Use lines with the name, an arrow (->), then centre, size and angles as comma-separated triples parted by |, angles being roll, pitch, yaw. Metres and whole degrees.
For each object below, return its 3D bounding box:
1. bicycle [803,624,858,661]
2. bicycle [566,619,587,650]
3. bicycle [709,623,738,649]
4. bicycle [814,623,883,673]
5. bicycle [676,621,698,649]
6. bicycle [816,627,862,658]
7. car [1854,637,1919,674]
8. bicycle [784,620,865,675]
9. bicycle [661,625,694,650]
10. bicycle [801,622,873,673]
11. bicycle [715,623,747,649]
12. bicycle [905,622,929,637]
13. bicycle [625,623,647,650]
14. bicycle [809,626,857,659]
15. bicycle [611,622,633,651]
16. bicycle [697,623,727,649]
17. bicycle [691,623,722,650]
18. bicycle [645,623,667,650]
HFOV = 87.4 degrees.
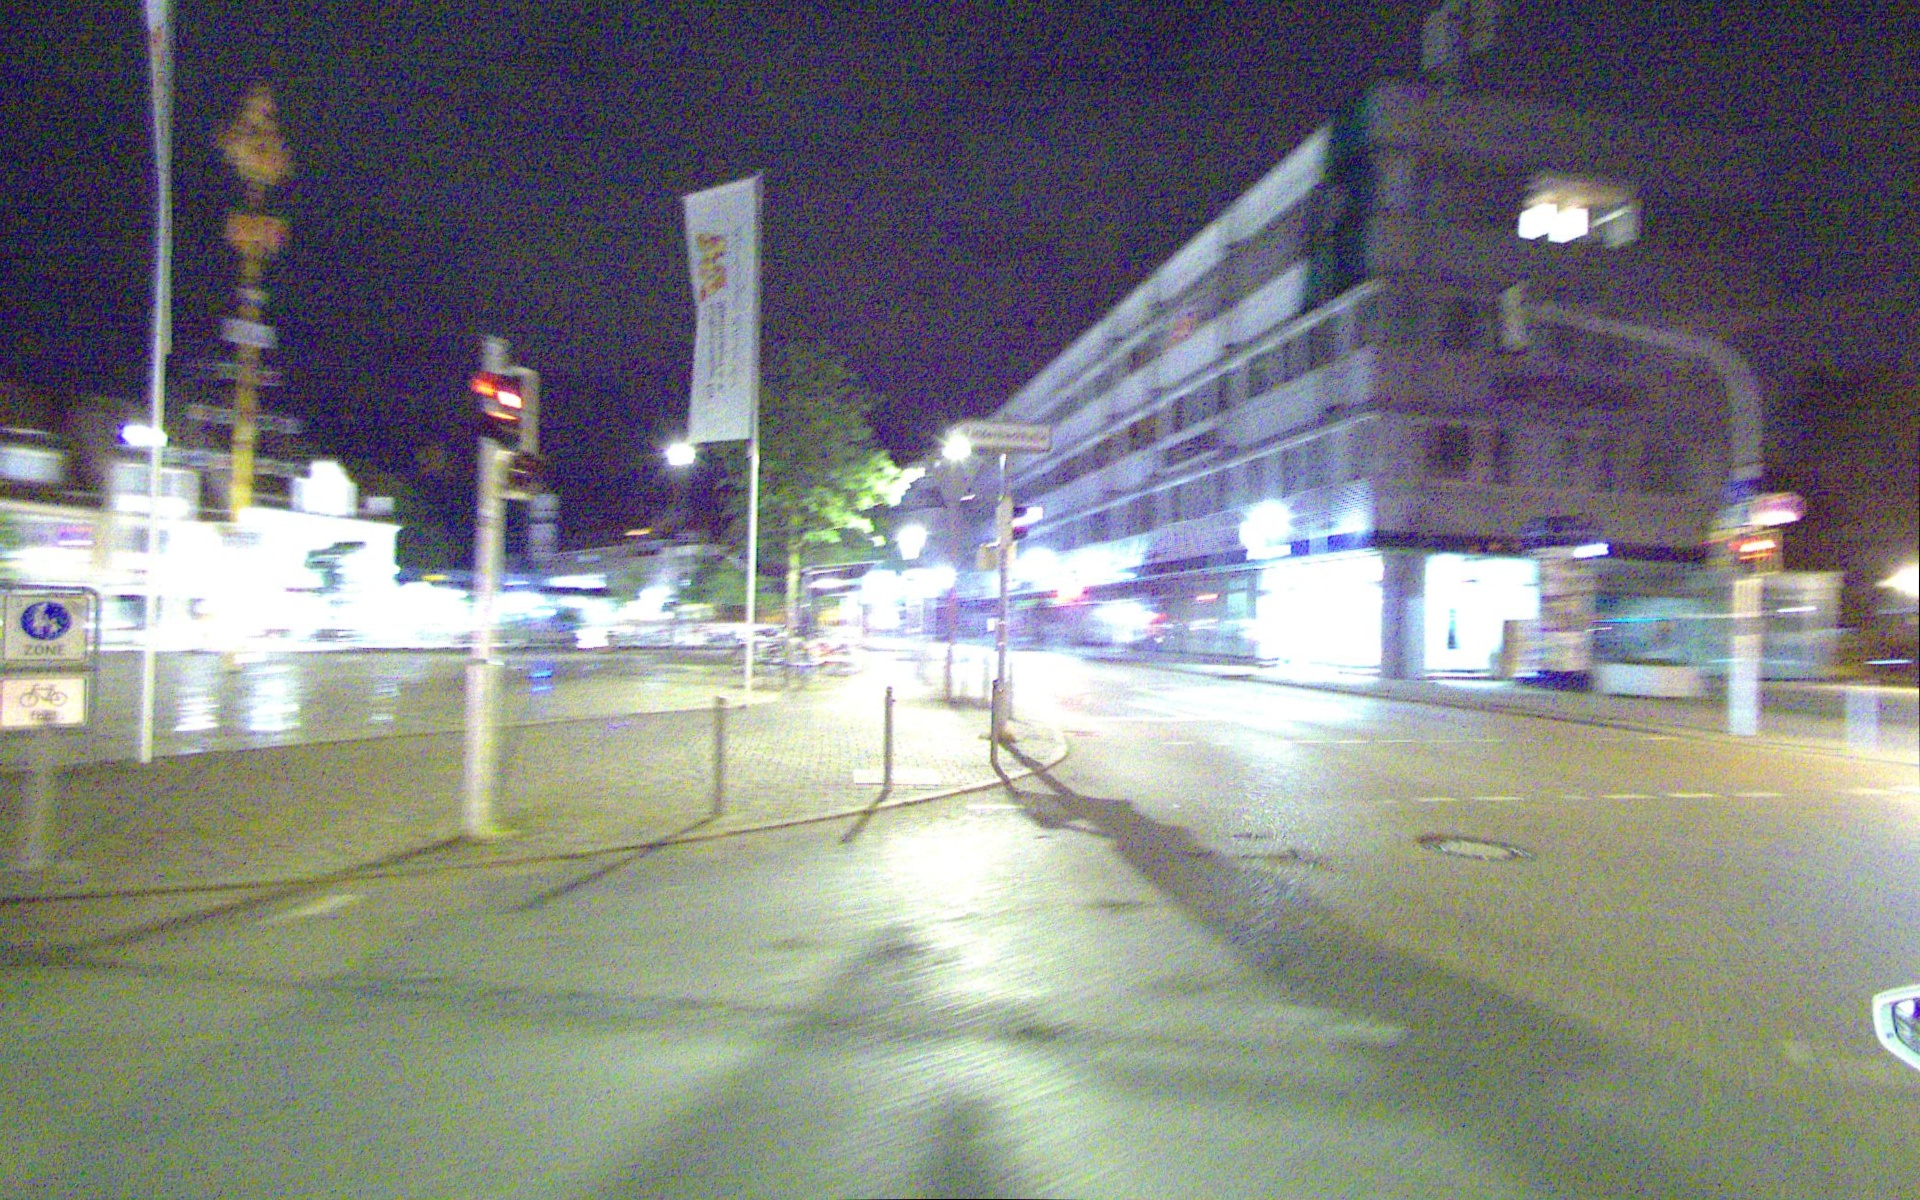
bicycle -> -4.225, 1.388, 32.771 | 1.743, 1.179, 0.669 | 1, -1, -11
bicycle -> -16.194, 1.456, 42.419 | 0.601, 1.235, 1.734 | 0, 0, -28
bicycle -> -10.995, 1.665, 46.619 | 0.541, 1.170, 1.725 | 0, 0, -42
bicycle -> -2.899, 1.233, 26.194 | 1.708, 1.182, 0.786 | 4, -1, -6
bicycle -> -12.514, 1.595, 46.045 | 0.601, 1.181, 1.734 | 0, 0, -27
bicycle -> -4.447, 1.560, 36.899 | 1.592, 1.120, 0.669 | 2, -2, -11
car -> 40.475, 2.340, 42.691 | 3.935, 1.471, 1.917 | 1, 0, -16
bicycle -> -3.184, 1.128, 23.758 | 1.805, 1.172, 0.786 | 4, -2, -6
bicycle -> -12.663, 1.673, 44.982 | 1.723, 1.084, 0.605 | 1, 0, 44
bicycle -> -3.066, 1.188, 25.147 | 1.708, 1.172, 0.786 | 4, -2, -6
bicycle -> -10.836, 1.689, 47.484 | 0.756, 1.177, 1.725 | 0, 0, -43
bicycle -> -3.213, 2.205, 75.414 | 1.738, 1.076, 0.649 | 2, -1, -36
bicycle -> -14.248, 1.610, 44.182 | 0.601, 1.115, 1.734 | 0, 0, -28
bicycle -> -4.395, 1.480, 34.838 | 1.592, 1.120, 0.669 | 1, -2, -11
bicycle -> -14.688, 1.581, 43.614 | 0.601, 1.181, 1.734 | 0, 0, -28
bicycle -> -11.479, 1.654, 46.430 | 0.604, 1.181, 1.725 | 0, 0, -42
bicycle -> -11.513, 1.653, 45.559 | 0.604, 1.181, 1.725 | 0, 0, -42
bicycle -> -13.546, 1.610, 44.722 | 0.601, 1.140, 1.734 | 0, 0, -28
